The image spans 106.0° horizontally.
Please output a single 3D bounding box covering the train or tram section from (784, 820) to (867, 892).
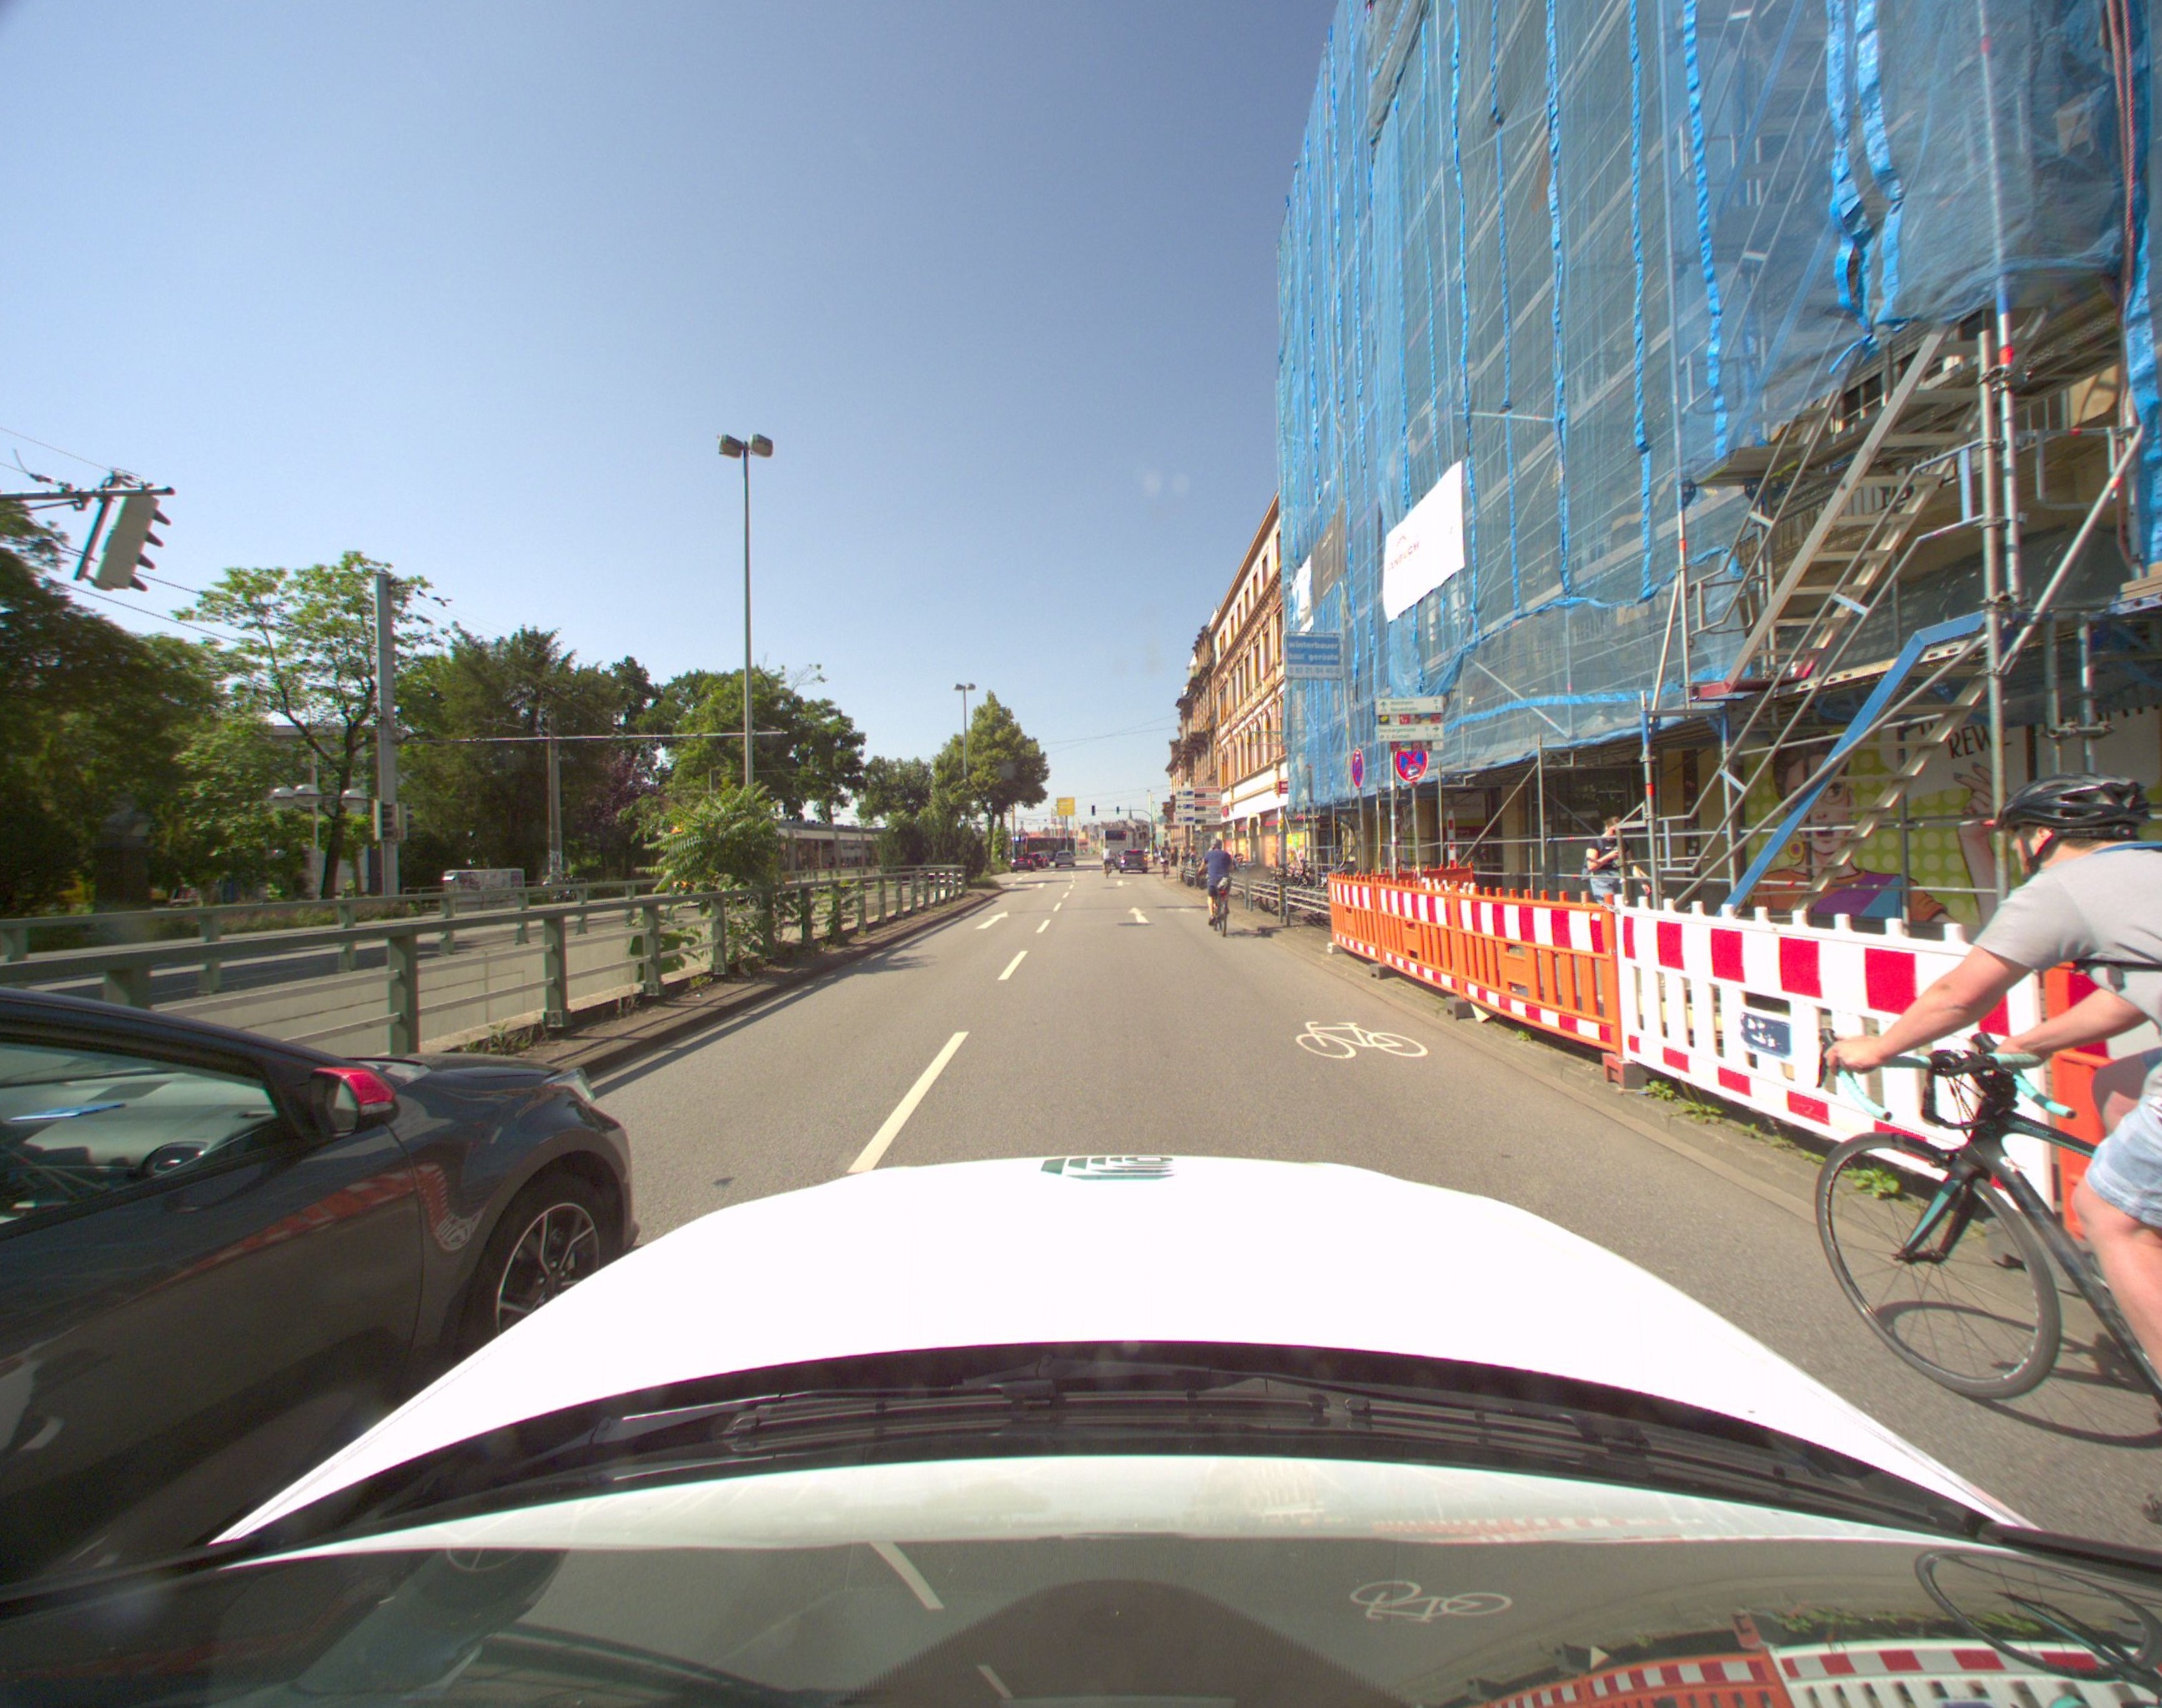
[{"bbox_3d":[-13.406,0.113,43.202,2.604,3.581,5.358,0,0,1],"label":"train or tram section"}]

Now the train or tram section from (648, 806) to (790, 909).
[{"bbox_3d":[-13.691,0.128,31.397,2.604,3.581,6.105,0,0,1],"label":"train or tram section"}]

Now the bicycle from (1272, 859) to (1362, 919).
[{"bbox_3d":[4.868,0.715,16.869,1.687,1.178,0.609,-1,0,1],"label":"bicycle"}]

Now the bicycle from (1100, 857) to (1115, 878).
[{"bbox_3d":[1.431,0.725,44.444,0.731,1.093,1.897,0,0,0],"label":"bicycle"}]

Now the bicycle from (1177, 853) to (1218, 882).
[{"bbox_3d":[5.230,0.604,36.670,1.687,1.178,0.609,-4,0,1],"label":"bicycle"}]

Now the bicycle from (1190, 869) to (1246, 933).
[{"bbox_3d":[2.547,0.846,15.286,0.731,1.093,1.911,0,0,0],"label":"bicycle"}]

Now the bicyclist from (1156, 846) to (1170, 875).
[{"bbox_3d":[4.393,0.340,43.653,0.686,1.576,1.049,0,0,1],"label":"bicyclist"}]

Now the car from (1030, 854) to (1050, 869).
[{"bbox_3d":[-3.626,0.679,72.979,1.446,1.300,4.002,0,0,2],"label":"car"}]

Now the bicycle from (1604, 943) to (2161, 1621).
[{"bbox_3d":[2.399,0.896,2.106,0.731,1.093,2.130,0,0,0],"label":"bicycle"}]

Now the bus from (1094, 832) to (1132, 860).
[{"bbox_3d":[3.295,-0.807,86.592,2.964,2.776,8.626,0,0,-5],"label":"bus"}]

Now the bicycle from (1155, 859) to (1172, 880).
[{"bbox_3d":[4.397,0.806,43.625,0.731,1.093,1.898,0,0,1],"label":"bicycle"}]

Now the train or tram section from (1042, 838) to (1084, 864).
[{"bbox_3d":[-2.520,-0.407,118.377,2.797,3.581,8.271,0,0,23],"label":"train or tram section"}]

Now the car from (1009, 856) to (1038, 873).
[{"bbox_3d":[-4.482,0.811,63.936,1.808,1.332,4.002,0,0,2],"label":"car"}]

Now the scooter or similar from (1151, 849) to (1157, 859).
[{"bbox_3d":[7.821,0.042,86.923,0.598,1.047,0.799,0,0,-1],"label":"scooter or similar"}]

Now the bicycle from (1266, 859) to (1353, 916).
[{"bbox_3d":[4.921,0.716,17.607,1.687,1.178,0.609,-1,0,1],"label":"bicycle"}]

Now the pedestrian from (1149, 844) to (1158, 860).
[{"bbox_3d":[7.832,-0.211,87.593,0.859,1.640,0.875,0,0,0],"label":"pedestrian"}]

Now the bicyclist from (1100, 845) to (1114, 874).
[{"bbox_3d":[1.417,0.308,44.358,0.686,1.576,1.049,0,0,0],"label":"bicyclist"}]

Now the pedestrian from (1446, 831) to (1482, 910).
[{"bbox_3d":[8.007,0.341,17.014,0.637,1.601,0.770,0,0,29],"label":"pedestrian"}]

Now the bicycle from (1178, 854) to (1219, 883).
[{"bbox_3d":[5.196,0.630,36.016,1.687,1.178,0.609,-3,1,1],"label":"bicycle"}]

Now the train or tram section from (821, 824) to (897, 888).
[{"bbox_3d":[-13.277,0.114,49.315,2.604,3.581,6.899,0,0,1],"label":"train or tram section"}]

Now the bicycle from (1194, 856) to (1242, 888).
[{"bbox_3d":[5.119,0.676,30.461,1.687,1.178,0.497,-1,0,1],"label":"bicycle"}]

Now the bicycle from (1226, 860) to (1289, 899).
[{"bbox_3d":[5.110,0.742,23.676,1.687,1.087,0.609,-1,0,1],"label":"bicycle"}]

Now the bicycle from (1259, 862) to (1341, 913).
[{"bbox_3d":[4.907,0.742,18.300,1.687,1.097,0.609,-1,0,1],"label":"bicycle"}]

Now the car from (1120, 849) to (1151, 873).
[{"bbox_3d":[3.454,0.438,52.436,1.866,1.492,4.002,0,0,2],"label":"car"}]

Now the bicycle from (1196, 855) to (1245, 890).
[{"bbox_3d":[5.085,0.670,29.797,1.687,1.241,0.609,-1,0,1],"label":"bicycle"}]

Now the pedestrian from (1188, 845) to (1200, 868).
[{"bbox_3d":[7.993,0.189,57.802,0.652,1.620,0.815,-3,1,0],"label":"pedestrian"}]

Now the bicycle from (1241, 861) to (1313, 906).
[{"bbox_3d":[5.094,0.754,21.196,1.732,1.109,0.609,-1,0,1],"label":"bicycle"}]

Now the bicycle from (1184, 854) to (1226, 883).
[{"bbox_3d":[5.222,0.620,34.314,1.687,1.178,0.460,-1,0,1],"label":"bicycle"}]

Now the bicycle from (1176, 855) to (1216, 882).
[{"bbox_3d":[5.262,0.655,37.303,1.687,1.178,0.609,-3,1,1],"label":"bicycle"}]

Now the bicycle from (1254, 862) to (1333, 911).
[{"bbox_3d":[4.945,0.748,19.045,1.687,1.097,0.609,-1,0,1],"label":"bicycle"}]

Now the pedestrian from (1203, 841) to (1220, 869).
[{"bbox_3d":[7.947,0.055,49.714,0.753,1.655,0.837,-5,-1,0],"label":"pedestrian"}]

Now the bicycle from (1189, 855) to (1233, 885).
[{"bbox_3d":[5.186,0.647,32.587,1.687,1.178,0.457,-1,0,1],"label":"bicycle"}]

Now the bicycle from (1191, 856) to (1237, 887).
[{"bbox_3d":[5.145,0.670,31.567,1.687,1.178,0.452,-1,0,1],"label":"bicycle"}]

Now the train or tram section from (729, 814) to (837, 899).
[{"bbox_3d":[-13.492,0.112,37.468,2.604,3.581,6.105,0,0,1],"label":"train or tram section"}]

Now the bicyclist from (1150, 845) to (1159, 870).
[{"bbox_3d":[5.913,0.300,65.649,0.685,1.962,0.779,0,0,4],"label":"bicyclist"}]

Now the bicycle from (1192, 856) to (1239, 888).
[{"bbox_3d":[5.126,0.670,31.010,1.687,1.178,0.491,-1,0,1],"label":"bicycle"}]

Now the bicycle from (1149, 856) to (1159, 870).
[{"bbox_3d":[5.897,0.689,65.691,0.731,1.093,1.900,0,0,4],"label":"bicycle"}]

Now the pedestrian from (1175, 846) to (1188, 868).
[{"bbox_3d":[7.651,0.219,61.902,0.860,1.640,0.875,-2,0,0],"label":"pedestrian"}]

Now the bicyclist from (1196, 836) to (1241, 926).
[{"bbox_3d":[2.545,0.488,15.154,0.686,1.616,0.918,0,0,0],"label":"bicyclist"}]

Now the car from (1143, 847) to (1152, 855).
[{"bbox_3d":[15.997,-0.767,197.218,1.985,1.877,4.004,-3,0,3],"label":"car"}]

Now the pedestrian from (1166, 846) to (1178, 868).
[{"bbox_3d":[7.106,0.221,63.598,0.860,1.640,0.875,-2,0,0],"label":"pedestrian"}]

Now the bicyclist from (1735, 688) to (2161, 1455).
[{"bbox_3d":[2.401,0.414,1.991,0.686,1.463,1.143,0,0,0],"label":"bicyclist"}]

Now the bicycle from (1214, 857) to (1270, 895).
[{"bbox_3d":[5.156,0.705,26.176,1.687,1.178,0.609,-1,0,1],"label":"bicycle"}]

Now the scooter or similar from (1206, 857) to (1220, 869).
[{"bbox_3d":[7.976,0.531,49.127,0.689,0.650,0.565,-6,-1,0],"label":"scooter or similar"}]

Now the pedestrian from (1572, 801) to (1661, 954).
[{"bbox_3d":[6.384,0.272,9.740,0.637,1.776,0.649,0,0,1],"label":"pedestrian"}]

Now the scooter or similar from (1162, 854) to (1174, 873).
[{"bbox_3d":[5.300,0.581,49.660,0.685,1.167,1.465,0,0,4],"label":"scooter or similar"}]

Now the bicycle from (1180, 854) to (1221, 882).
[{"bbox_3d":[5.194,0.611,35.416,1.687,1.178,0.470,-1,0,1],"label":"bicycle"}]

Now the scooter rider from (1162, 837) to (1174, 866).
[{"bbox_3d":[5.315,-0.137,49.700,0.685,1.729,0.779,0,0,4],"label":"scooter rider"}]

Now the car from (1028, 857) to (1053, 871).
[{"bbox_3d":[-3.976,0.928,80.461,2.029,1.332,4.002,0,0,2],"label":"car"}]

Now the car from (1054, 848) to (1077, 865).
[{"bbox_3d":[-1.439,0.241,75.521,1.851,1.507,4.002,0,0,2],"label":"car"}]

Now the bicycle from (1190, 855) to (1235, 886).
[{"bbox_3d":[5.166,0.653,32.076,1.687,1.178,0.463,-1,0,1],"label":"bicycle"}]

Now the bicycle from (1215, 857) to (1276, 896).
[{"bbox_3d":[5.112,0.693,25.345,1.764,1.178,0.609,-1,0,1],"label":"bicycle"}]

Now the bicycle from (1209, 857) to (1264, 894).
[{"bbox_3d":[5.121,0.718,26.903,1.687,1.178,0.609,-1,0,1],"label":"bicycle"}]

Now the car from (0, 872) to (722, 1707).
[{"bbox_3d":[-2.384,0.855,1.071,1.769,1.475,4.004,-3,0,4],"label":"car"}]

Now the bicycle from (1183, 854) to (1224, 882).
[{"bbox_3d":[5.230,0.607,34.879,1.687,1.178,0.470,-1,0,1],"label":"bicycle"}]

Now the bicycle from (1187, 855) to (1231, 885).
[{"bbox_3d":[5.209,0.644,33.168,1.687,1.178,0.514,-1,0,1],"label":"bicycle"}]

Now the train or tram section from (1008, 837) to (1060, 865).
[{"bbox_3d":[-6.178,-0.393,109.876,2.797,3.581,10.088,0,0,23],"label":"train or tram section"}]

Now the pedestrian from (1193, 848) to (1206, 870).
[{"bbox_3d":[9.148,0.384,62.931,0.859,1.640,0.875,0,0,0],"label":"pedestrian"}]
